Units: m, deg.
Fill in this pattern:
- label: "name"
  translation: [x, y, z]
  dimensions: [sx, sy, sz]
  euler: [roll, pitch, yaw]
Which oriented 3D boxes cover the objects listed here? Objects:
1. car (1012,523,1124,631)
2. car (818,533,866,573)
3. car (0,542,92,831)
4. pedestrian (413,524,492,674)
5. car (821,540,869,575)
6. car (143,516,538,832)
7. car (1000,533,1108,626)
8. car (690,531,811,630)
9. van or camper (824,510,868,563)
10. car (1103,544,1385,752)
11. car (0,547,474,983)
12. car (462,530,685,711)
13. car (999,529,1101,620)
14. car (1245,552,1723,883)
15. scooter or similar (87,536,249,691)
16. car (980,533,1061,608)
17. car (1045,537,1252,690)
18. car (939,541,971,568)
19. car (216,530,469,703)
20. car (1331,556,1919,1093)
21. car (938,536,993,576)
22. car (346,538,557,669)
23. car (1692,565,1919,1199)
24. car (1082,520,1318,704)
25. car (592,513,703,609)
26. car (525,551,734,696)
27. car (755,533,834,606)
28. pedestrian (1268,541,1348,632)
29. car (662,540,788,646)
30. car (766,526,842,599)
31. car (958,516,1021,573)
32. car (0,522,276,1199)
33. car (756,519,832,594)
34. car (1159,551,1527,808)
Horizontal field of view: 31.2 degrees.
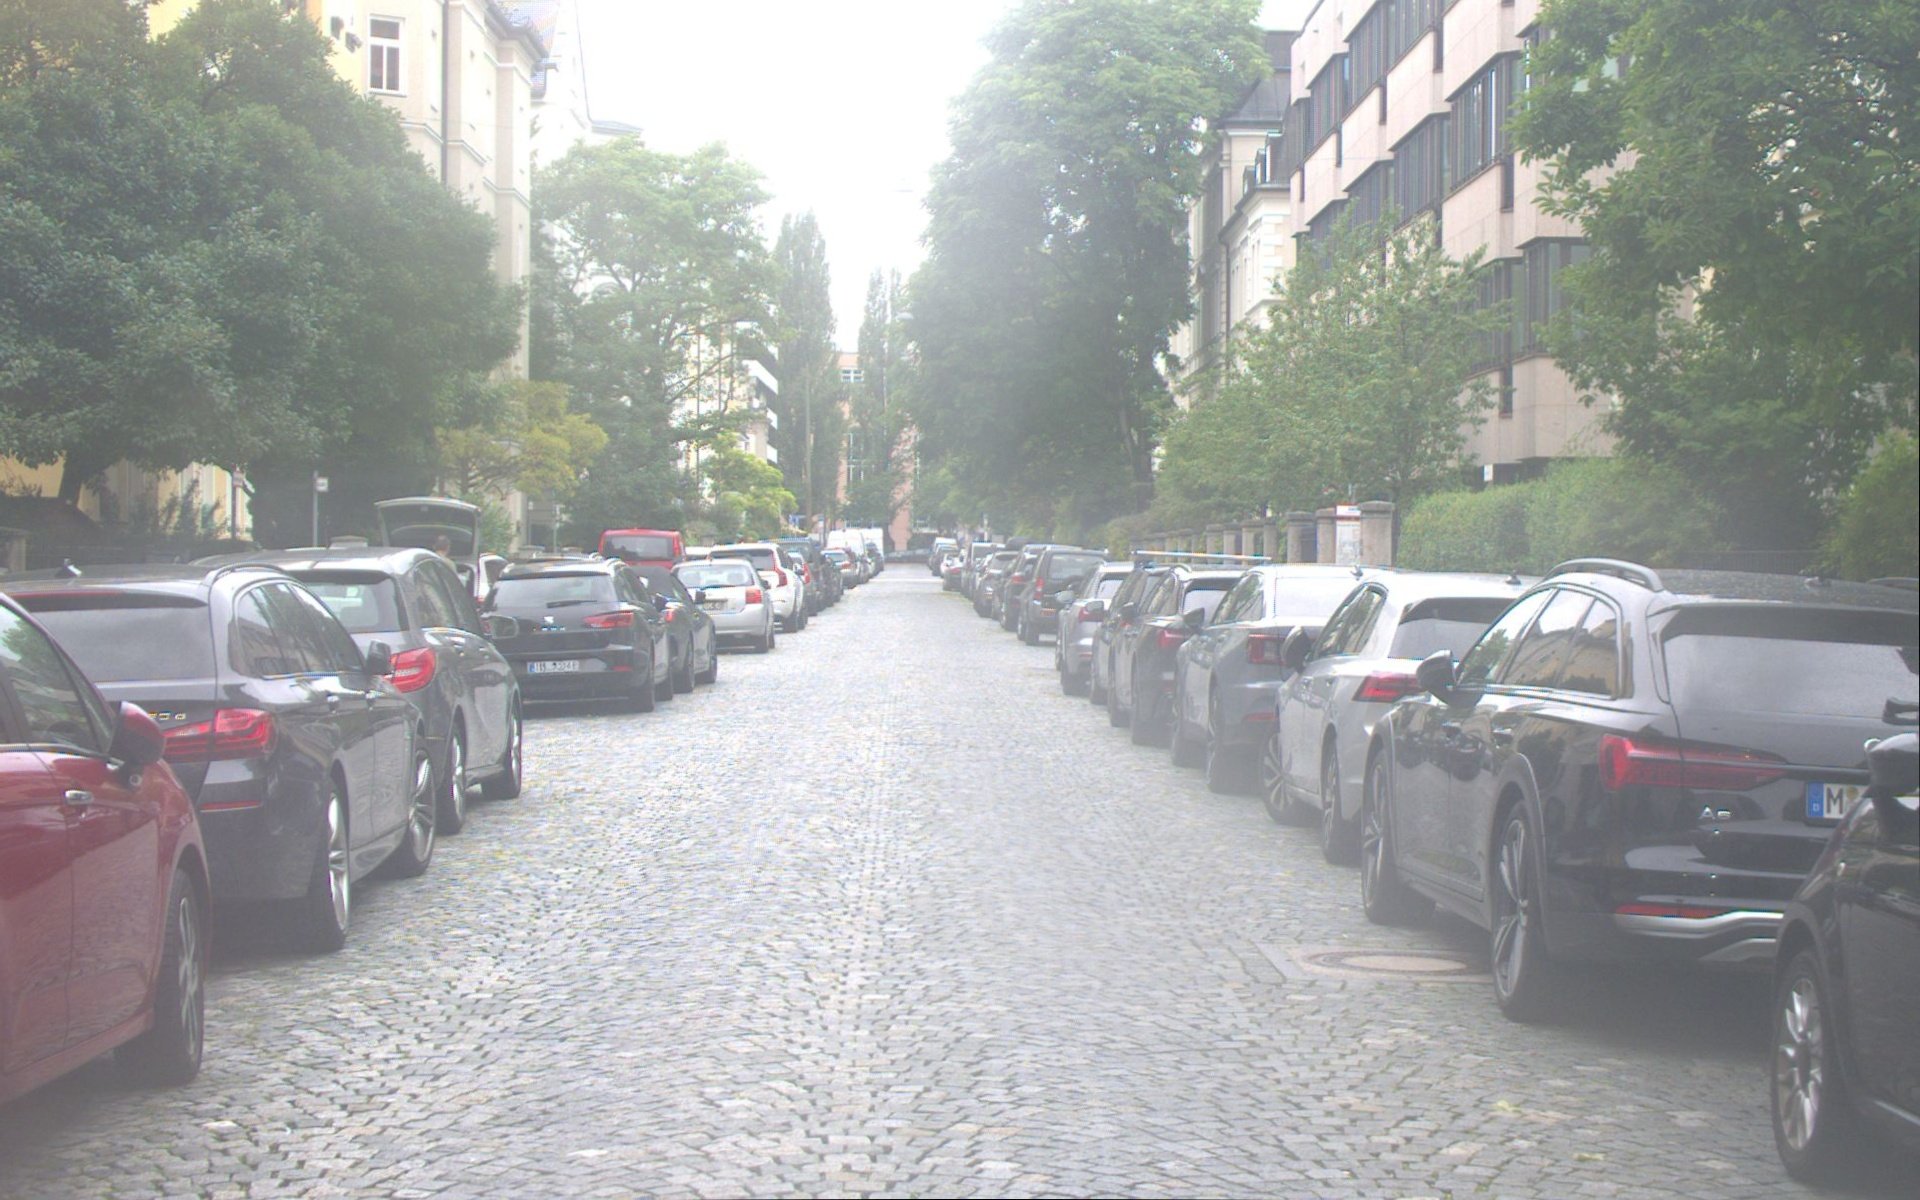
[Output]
- label: "car"
  translation: [1.853, -0.427, 60.124]
  dimensions: [1.618, 1.745, 3.888]
  euler: [3, 1, -2]
- label: "car"
  translation: [-4.950, -1.976, 143.468]
  dimensions: [1.873, 1.574, 4.256]
  euler: [-3, 1, -3]
- label: "car"
  translation: [-5.774, 0.429, 17.078]
  dimensions: [1.841, 1.461, 4.390]
  euler: [1, 1, -1]
- label: "pedestrian"
  translation: [-5.637, -0.015, 38.216]
  dimensions: [0.766, 1.644, 0.582]
  euler: [1, 1, 1]
- label: "car"
  translation: [-5.370, -2.007, 161.405]
  dimensions: [1.873, 1.574, 4.208]
  euler: [2, 1, 2]
- label: "car"
  translation: [-3.430, 0.350, 19.721]
  dimensions: [1.739, 1.580, 4.193]
  euler: [-1, 1, -4]
- label: "car"
  translation: [1.844, -0.444, 68.589]
  dimensions: [1.860, 1.696, 4.813]
  euler: [3, 1, -1]
- label: "car"
  translation: [-4.079, -0.410, 67.713]
  dimensions: [2.006, 1.802, 5.174]
  euler: [-2, 1, 0]
- label: "van or camper"
  translation: [-5.830, -3.253, 176.262]
  dimensions: [1.993, 2.643, 4.000]
  euler: [-3, 1, 0]
- label: "car"
  translation: [2.259, 0.326, 28.575]
  dimensions: [1.819, 1.483, 5.050]
  euler: [3, 1, 0]
- label: "car"
  translation: [-3.233, 0.534, 14.289]
  dimensions: [1.870, 1.465, 5.134]
  euler: [-1, 1, -2]
- label: "car"
  translation: [-3.682, 0.151, 33.434]
  dimensions: [1.739, 1.598, 4.537]
  euler: [-1, 1, -1]
- label: "car"
  translation: [1.908, -0.574, 74.030]
  dimensions: [1.788, 1.790, 4.510]
  euler: [4, 1, -2]
- label: "car"
  translation: [2.617, 0.513, 18.192]
  dimensions: [1.755, 1.455, 4.480]
  euler: [3, 1, 0]
- label: "scooter or similar"
  translation: [-8.012, 0.109, 34.919]
  dimensions: [1.062, 1.518, 2.635]
  euler: [0, 1, -1]
- label: "car"
  translation: [1.472, -0.738, 84.961]
  dimensions: [1.873, 1.729, 4.892]
  euler: [2, 1, 1]
- label: "car"
  translation: [2.045, 0.102, 38.662]
  dimensions: [1.993, 1.546, 4.986]
  euler: [2, 1, 0]
- label: "car"
  translation: [-0.295, -2.605, 197.258]
  dimensions: [1.790, 1.515, 4.000]
  euler: [0, 1, 0]
- label: "car"
  translation: [-5.934, 0.116, 33.492]
  dimensions: [1.739, 1.531, 4.467]
  euler: [2, 1, -2]
- label: "car"
  translation: [2.628, 0.638, 12.526]
  dimensions: [1.904, 1.497, 5.106]
  euler: [3, 1, 0]
- label: "car"
  translation: [0.187, -1.748, 135.564]
  dimensions: [1.873, 1.498, 4.512]
  euler: [3, 1, -3]
- label: "car"
  translation: [-5.946, 0.003, 40.650]
  dimensions: [1.776, 1.412, 4.561]
  euler: [2, 1, 0]
- label: "car"
  translation: [2.845, 0.725, 7.256]
  dimensions: [1.667, 1.503, 3.686]
  euler: [3, 1, -1]
- label: "car"
  translation: [2.286, 0.077, 33.777]
  dimensions: [1.893, 1.648, 4.294]
  euler: [2, 1, -1]
- label: "car"
  translation: [-6.632, -0.840, 73.425]
  dimensions: [1.994, 1.924, 5.331]
  euler: [2, 1, -2]
- label: "car"
  translation: [-3.640, 0.210, 38.622]
  dimensions: [1.814, 1.450, 4.913]
  euler: [-2, 1, 0]
- label: "car"
  translation: [-4.222, -0.794, 87.160]
  dimensions: [1.865, 1.729, 4.404]
  euler: [-2, 1, -3]
- label: "pedestrian"
  translation: [5.942, -0.234, 58.732]
  dimensions: [1.217, 1.488, 1.129]
  euler: [-2, 1, 2]
- label: "car"
  translation: [-3.672, -0.138, 54.348]
  dimensions: [1.713, 1.557, 4.391]
  euler: [-2, 1, -1]
- label: "car"
  translation: [-4.443, -1.097, 98.729]
  dimensions: [1.993, 1.910, 5.178]
  euler: [-3, 1, -2]
- label: "car"
  translation: [1.046, -2.007, 123.565]
  dimensions: [1.873, 1.922, 5.165]
  euler: [3, 1, -3]
- label: "car"
  translation: [-2.974, 0.627, 8.507]
  dimensions: [1.841, 1.580, 4.193]
  euler: [-1, 1, -2]
- label: "car"
  translation: [-4.426, -1.176, 92.274]
  dimensions: [1.873, 1.910, 4.828]
  euler: [-2, 1, -2]
- label: "car"
  translation: [2.481, 0.452, 23.443]
  dimensions: [1.882, 1.483, 4.814]
  euler: [3, 1, 0]
